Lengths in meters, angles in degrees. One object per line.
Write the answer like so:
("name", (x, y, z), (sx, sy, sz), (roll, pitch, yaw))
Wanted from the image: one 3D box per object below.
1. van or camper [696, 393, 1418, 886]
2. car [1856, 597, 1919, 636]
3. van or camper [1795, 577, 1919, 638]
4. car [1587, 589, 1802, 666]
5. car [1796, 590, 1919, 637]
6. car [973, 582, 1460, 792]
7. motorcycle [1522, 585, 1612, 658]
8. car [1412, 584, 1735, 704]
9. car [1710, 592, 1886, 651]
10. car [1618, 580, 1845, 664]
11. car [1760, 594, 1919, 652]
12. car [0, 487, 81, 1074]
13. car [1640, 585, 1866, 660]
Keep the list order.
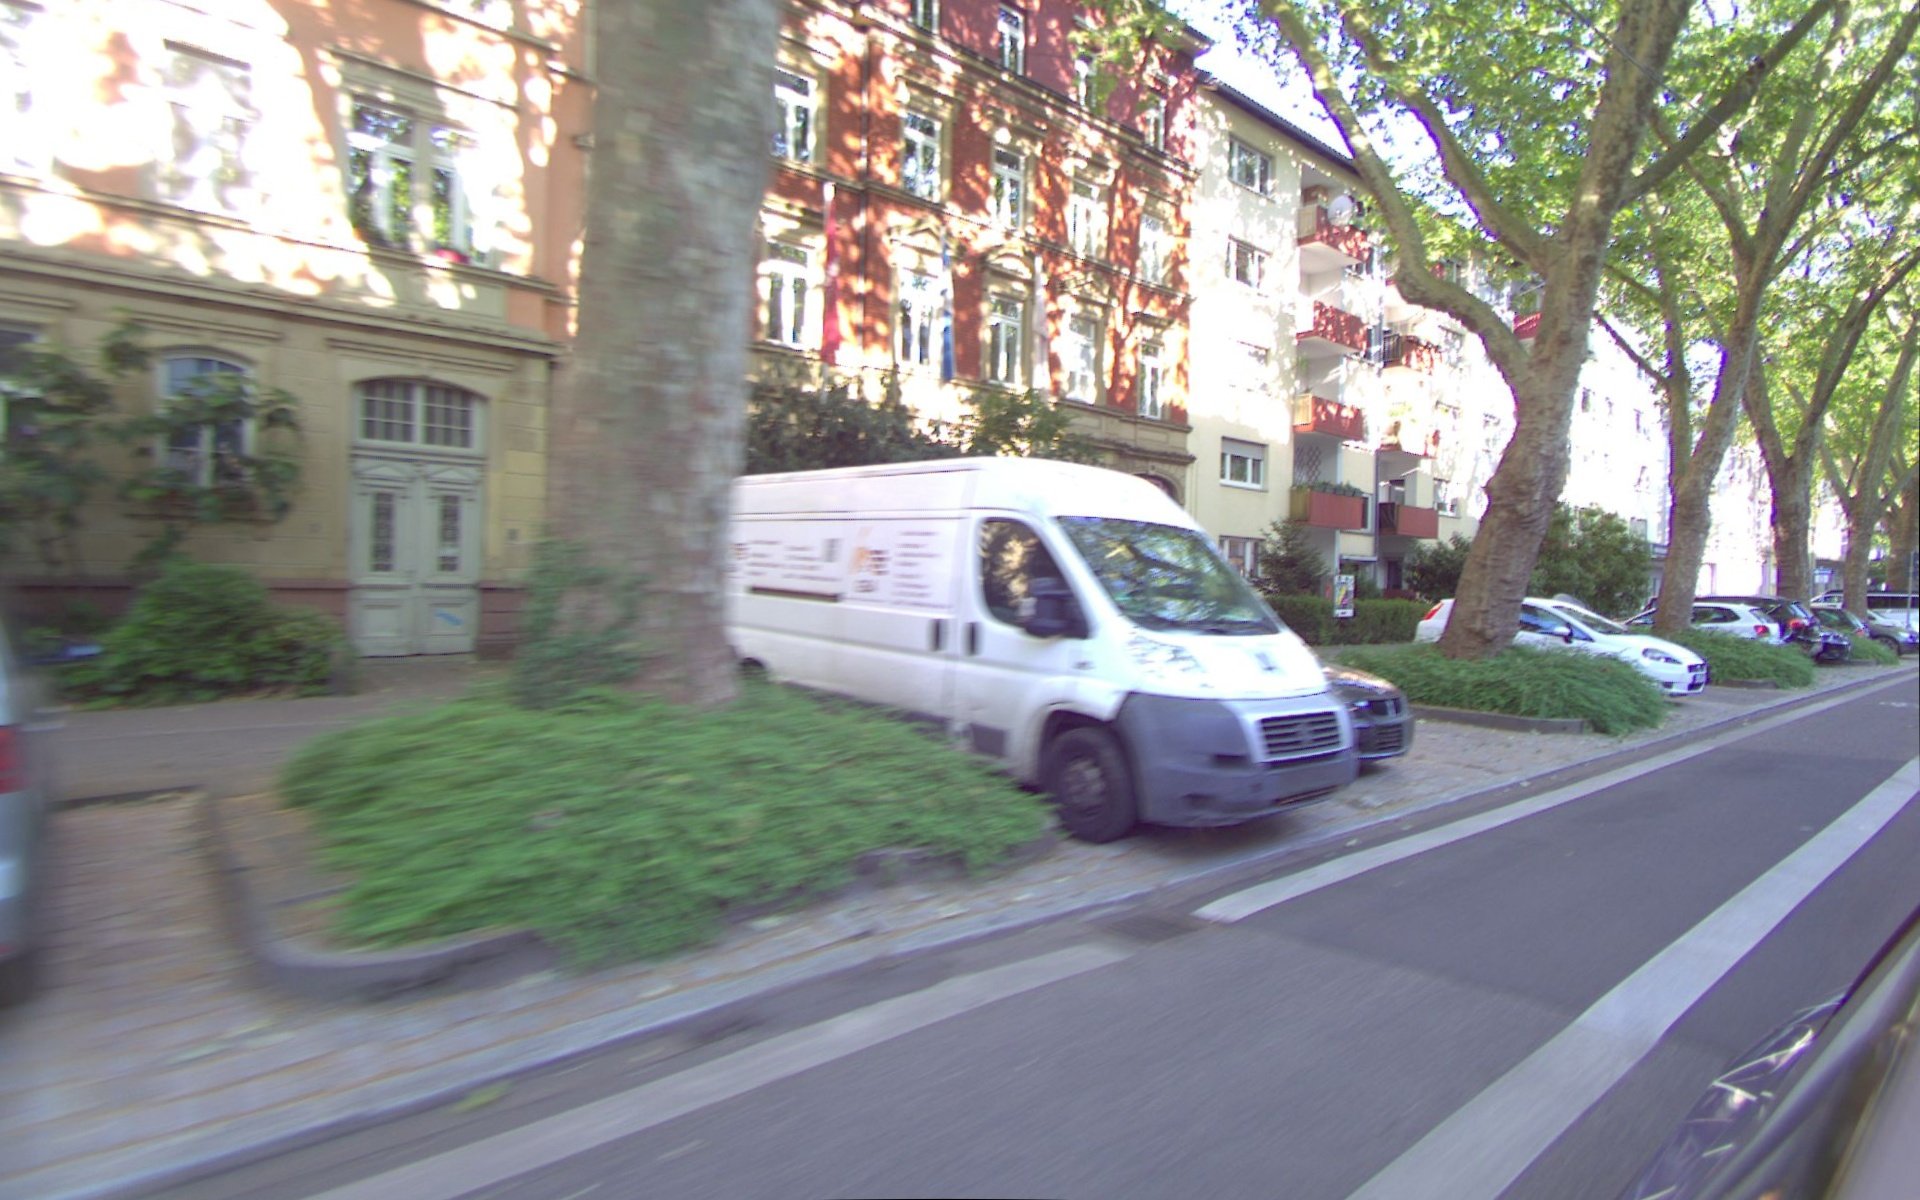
("van or camper", (0.193, 0.097, 8.164), (2.070, 2.521, 6.045), (0, 2, -40))
("car", (37.316, 0.647, 39.231), (1.694, 1.457, 3.573), (0, 2, -37))
("van or camper", (34.723, 0.262, 38.481), (1.808, 2.136, 4.382), (0, 2, -43))
("car", (16.356, 0.547, 22.653), (1.632, 1.514, 3.615), (0, 1, -41))
("car", (32.772, 0.448, 36.720), (1.648, 1.550, 3.568), (0, 2, -42))
("car", (2.220, 0.655, 9.817), (1.751, 1.572, 4.396), (0, 0, -40))
("motorcycle", (13.381, 0.441, 22.269), (2.769, 1.497, 0.841), (0, 1, -41))
("car", (9.343, 0.570, 15.648), (1.660, 1.498, 3.959), (0, 2, -43))
("car", (24.656, 0.585, 29.861), (1.672, 1.461, 3.830), (0, 3, -44))
("car", (18.305, 0.449, 24.148), (1.773, 1.766, 4.003), (1, 1, -40))
("car", (27.004, 0.656, 30.482), (1.877, 1.500, 4.207), (0, 2, -39))
("car", (-4.581, 0.458, 3.857), (1.766, 1.676, 3.960), (-1, 2, -42))
("car", (20.079, 0.508, 25.760), (1.713, 1.673, 4.297), (0, 2, -42))
